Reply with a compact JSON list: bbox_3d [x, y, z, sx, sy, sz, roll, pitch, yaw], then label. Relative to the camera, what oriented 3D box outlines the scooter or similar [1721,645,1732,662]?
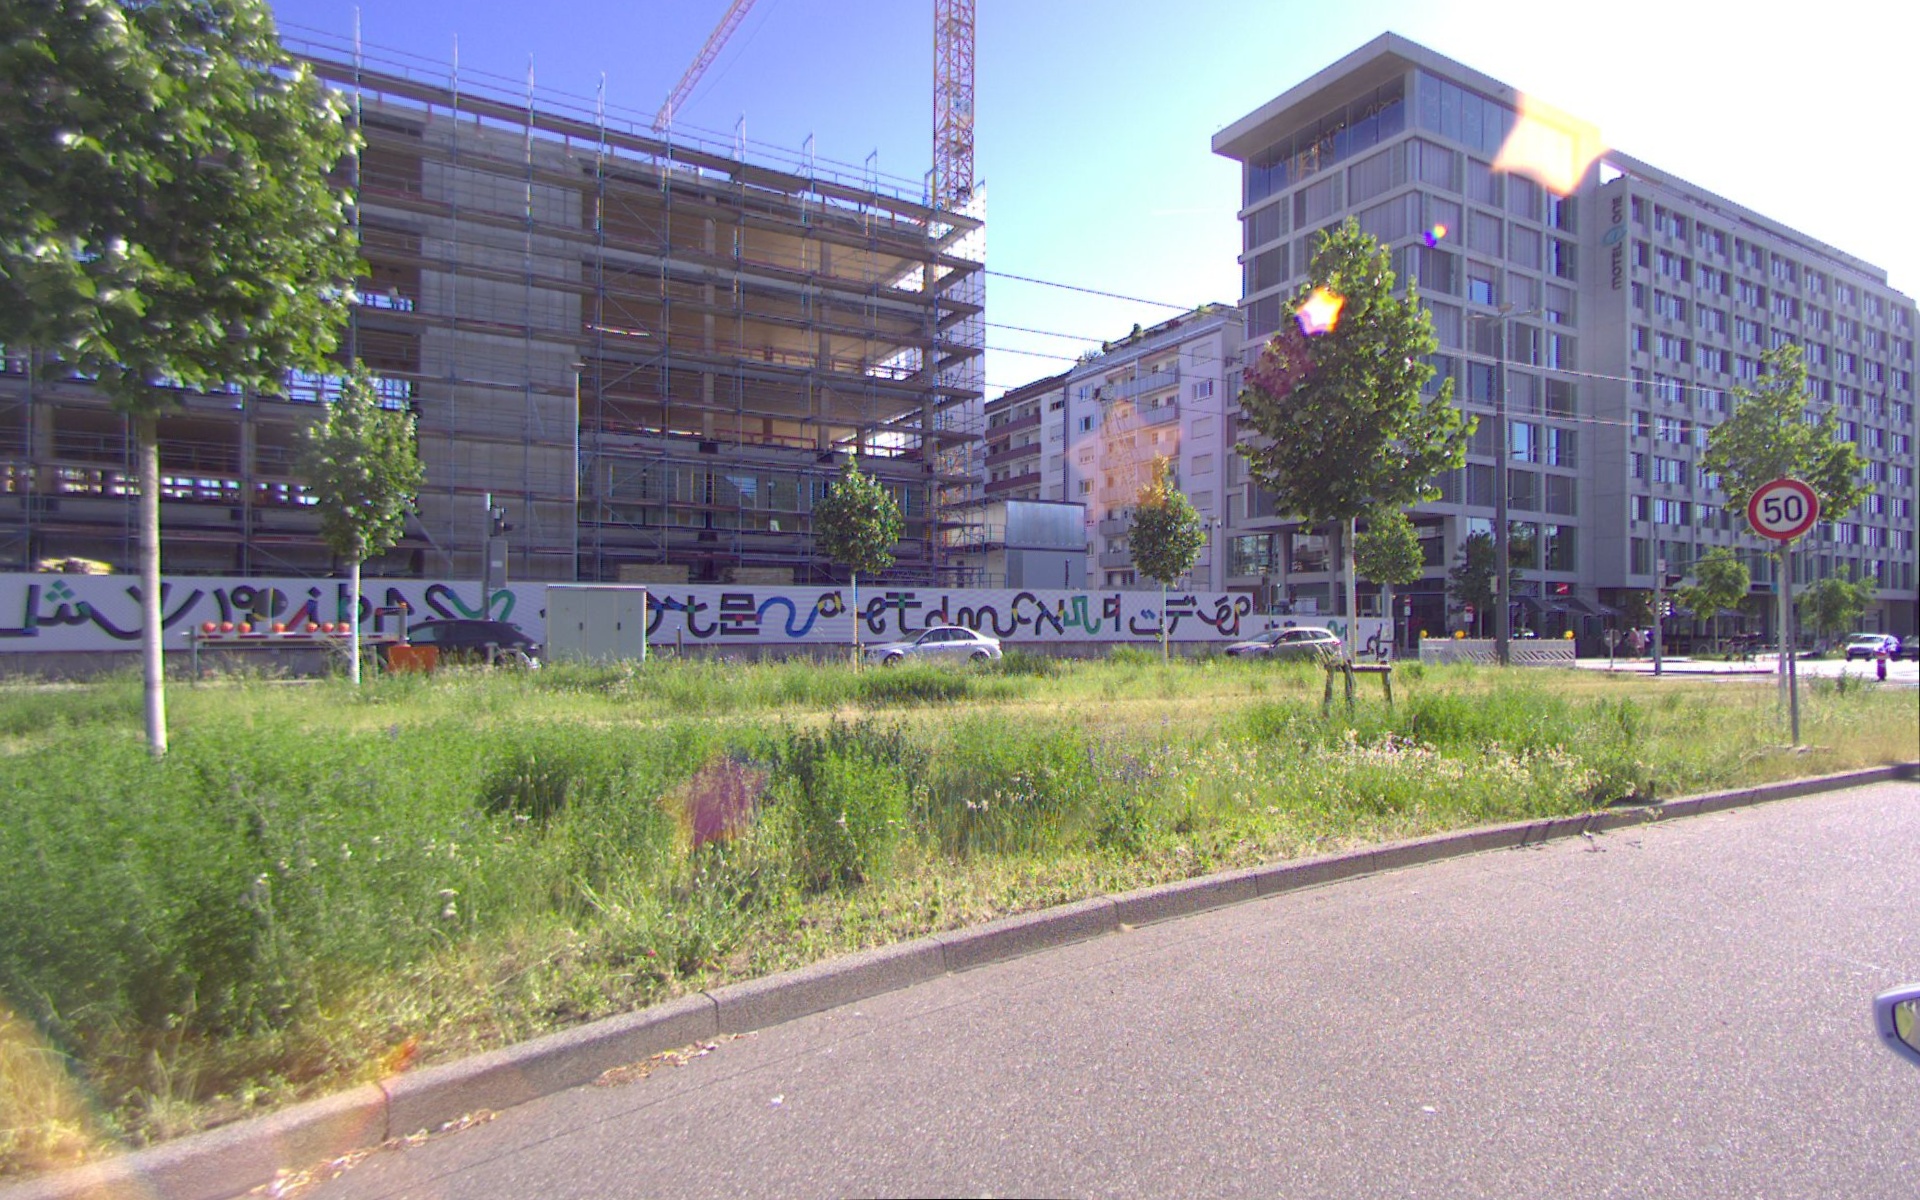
[{"bbox_3d":[43.972,3.047,57.610,0.760,0.960,0.283,1,-1,-37],"label":"scooter or similar"}]

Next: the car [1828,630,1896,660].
[{"bbox_3d":[52.347,2.605,58.306,3.952,1.673,1.782,1,-2,-29],"label":"car"}]

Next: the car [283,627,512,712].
[{"bbox_3d":[-12.972,1.540,23.435,4.472,1.816,1.985,1,-1,-29],"label":"car"}]

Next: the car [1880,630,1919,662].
[{"bbox_3d":[51.799,2.495,54.401,3.952,1.673,1.782,1,-2,-29],"label":"car"}]

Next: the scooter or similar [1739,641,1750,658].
[{"bbox_3d":[44.263,2.786,56.690,0.758,0.960,0.227,1,-1,-30],"label":"scooter or similar"}]

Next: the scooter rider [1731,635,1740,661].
[{"bbox_3d":[44.269,2.763,57.348,0.236,1.472,0.341,1,-1,-29],"label":"scooter rider"}]

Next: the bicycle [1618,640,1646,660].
[{"bbox_3d":[38.461,2.844,57.486,1.601,1.115,0.585,2,0,-26],"label":"bicycle"}]

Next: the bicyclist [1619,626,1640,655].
[{"bbox_3d":[38.350,2.305,57.557,0.881,1.601,0.591,2,0,-26],"label":"bicyclist"}]

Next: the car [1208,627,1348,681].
[{"bbox_3d":[11.249,1.875,35.579,4.457,1.816,1.992,1,-1,-19],"label":"car"}]

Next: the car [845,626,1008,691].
[{"bbox_3d":[-0.995,1.698,30.011,4.466,1.816,1.988,1,-1,-25],"label":"car"}]

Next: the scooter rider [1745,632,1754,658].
[{"bbox_3d":[44.453,2.536,56.558,0.236,1.472,0.341,1,-1,-29],"label":"scooter rider"}]
